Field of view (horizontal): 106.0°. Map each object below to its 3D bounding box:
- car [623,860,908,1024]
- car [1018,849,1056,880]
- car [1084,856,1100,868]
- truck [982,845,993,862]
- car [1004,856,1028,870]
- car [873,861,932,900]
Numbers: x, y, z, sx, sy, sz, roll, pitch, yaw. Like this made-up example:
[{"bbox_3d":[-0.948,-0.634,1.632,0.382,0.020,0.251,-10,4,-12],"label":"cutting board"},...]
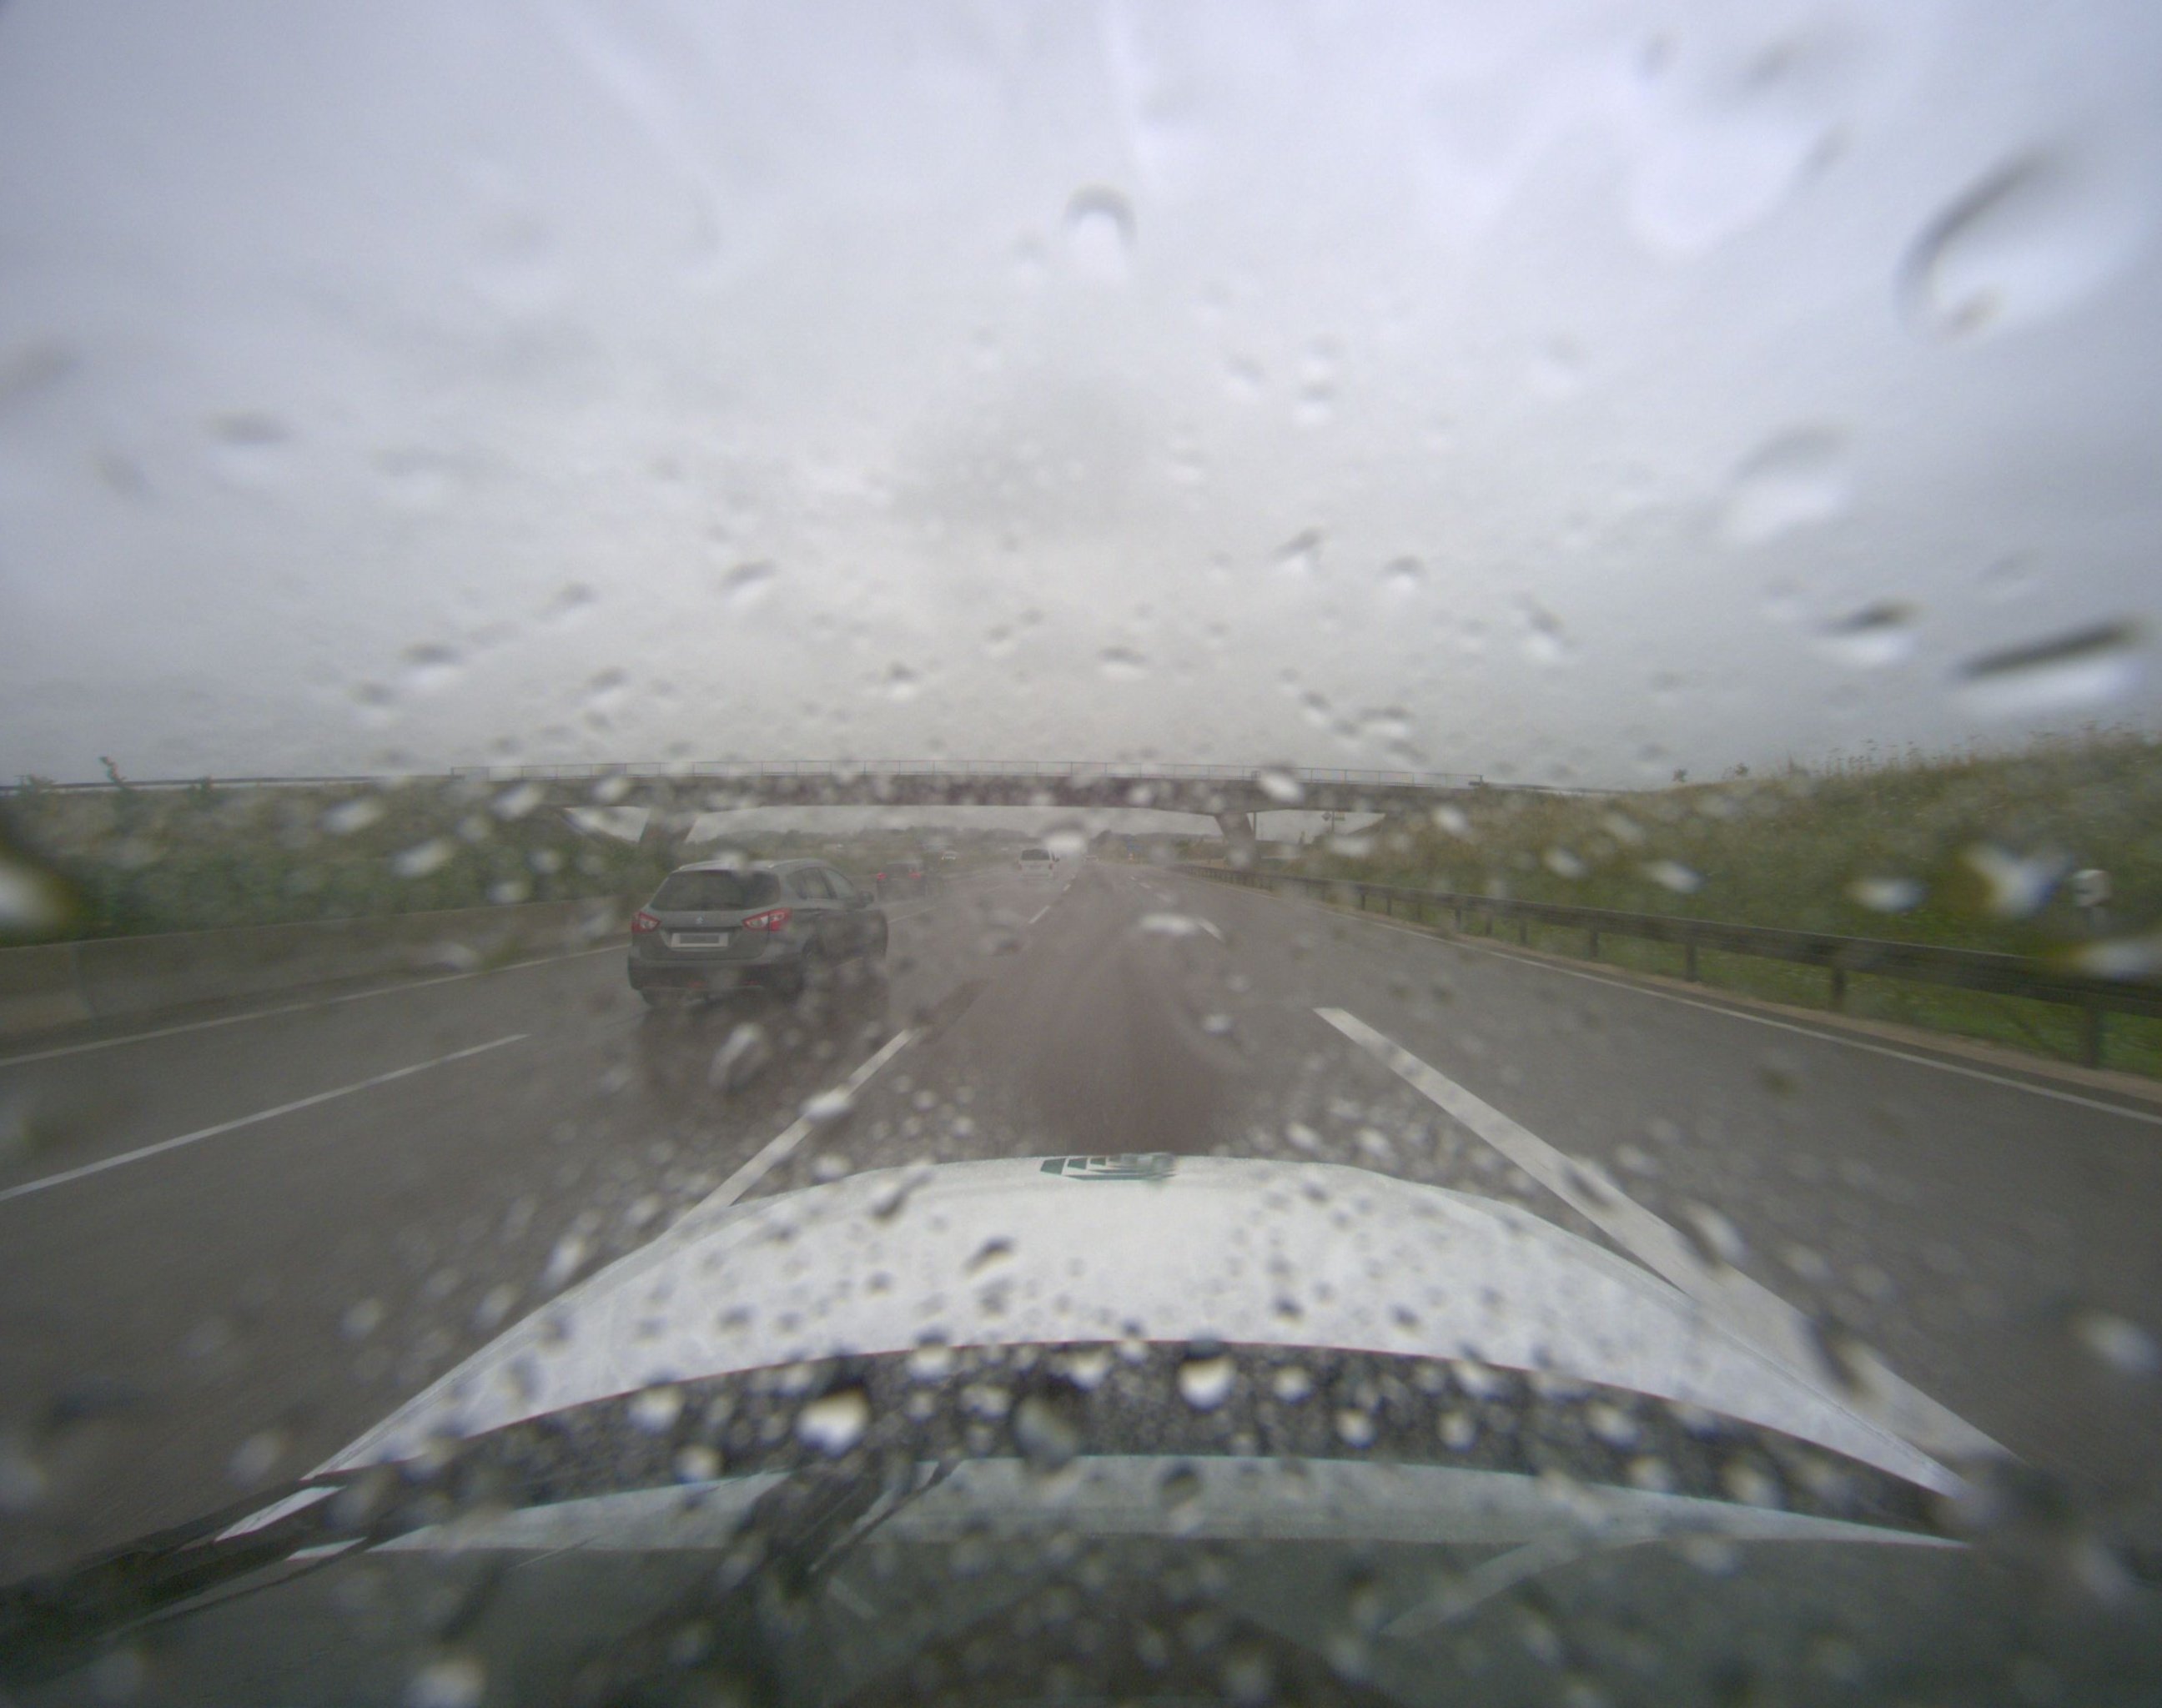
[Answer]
[{"bbox_3d":[-3.500,0.855,10.139,1.842,1.513,4.752,0,0,-2],"label":"car"},{"bbox_3d":[-2.319,0.559,43.811,1.892,1.585,3.997,0,0,-2],"label":"car"},{"bbox_3d":[1.144,0.773,83.163,1.462,1.208,2.993,-1,0,2],"label":"car"},{"bbox_3d":[-22.726,-0.036,197.976,2.206,3.983,5.183,-1,0,0],"label":"truck"},{"bbox_3d":[-6.003,0.808,75.384,1.460,1.257,3.347,-1,0,8],"label":"car"},{"bbox_3d":[-6.707,0.957,31.021,1.609,1.354,3.994,0,0,-4],"label":"car"}]
